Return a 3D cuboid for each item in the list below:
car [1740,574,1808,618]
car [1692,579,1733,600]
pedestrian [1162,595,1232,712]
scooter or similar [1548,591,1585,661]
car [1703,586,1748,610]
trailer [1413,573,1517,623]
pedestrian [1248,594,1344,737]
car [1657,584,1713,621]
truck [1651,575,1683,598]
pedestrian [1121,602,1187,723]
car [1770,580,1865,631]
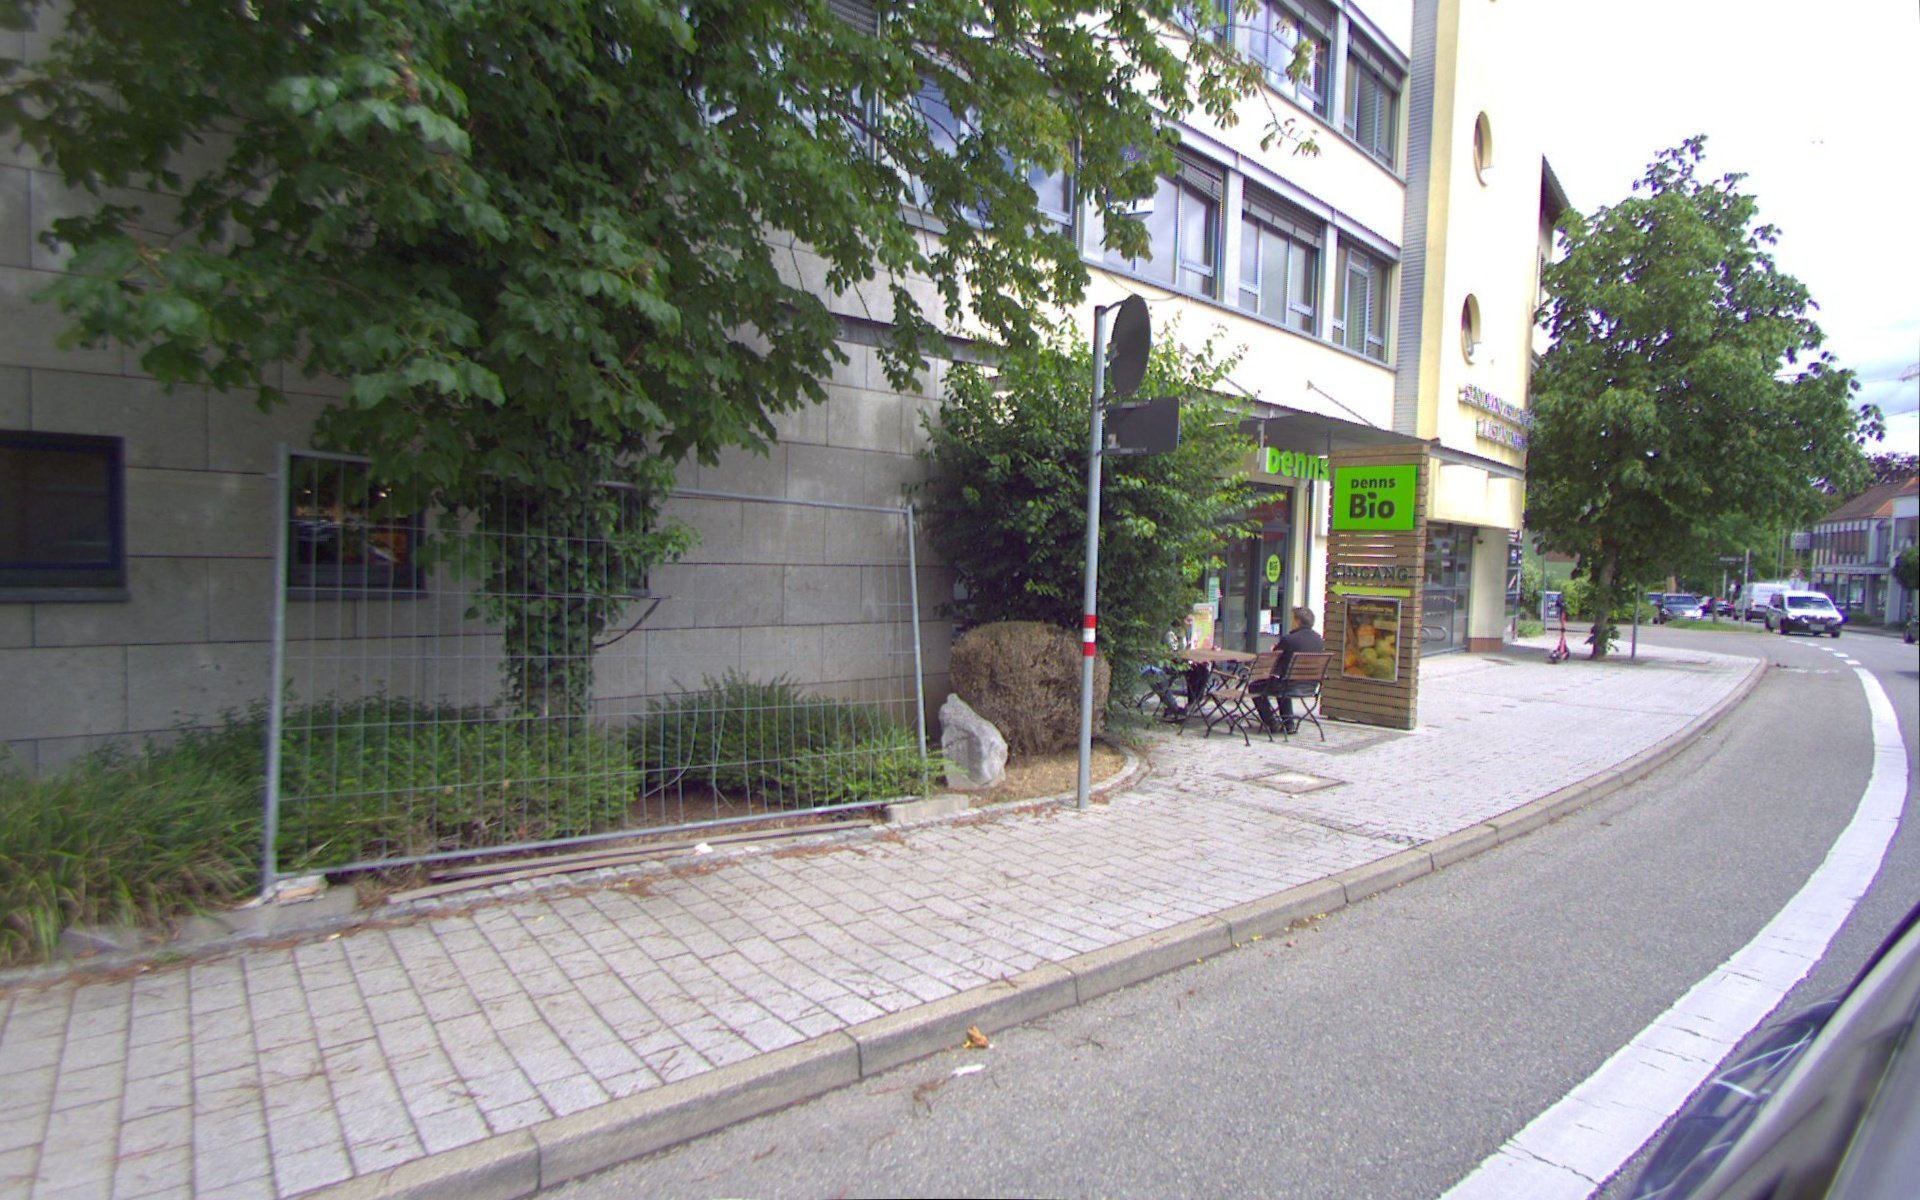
[{"bbox_3d":[49.287,-0.278,61.404,2.051,2.381,5.133,6,3,27],"label":"car"},{"bbox_3d":[59.964,-0.862,80.732,1.764,1.541,4.422,3,3,26],"label":"car"},{"bbox_3d":[2.626,0.574,11.224,0.577,1.218,0.495,2,3,45],"label":"pedestrian"},{"bbox_3d":[12.299,0.503,20.499,0.380,1.332,1.438,2,3,41],"label":"scooter or similar"},{"bbox_3d":[55.018,-0.176,72.803,1.760,1.442,4.071,5,4,27],"label":"car"},{"bbox_3d":[18.903,-0.090,37.957,3.158,1.601,1.372,6,3,41],"label":"trailer"},{"bbox_3d":[3.334,0.626,10.072,0.567,1.332,0.692,-1,2,-29],"label":"pedestrian"},{"bbox_3d":[36.523,0.103,51.067,1.681,1.687,4.416,3,2,29],"label":"car"},{"bbox_3d":[84.056,-1.643,120.367,2.293,2.449,6.034,2,3,28],"label":"truck"},{"bbox_3d":[2.039,0.635,10.638,0.519,1.196,0.495,2,2,34],"label":"pedestrian"},{"bbox_3d":[34.660,0.162,41.056,1.948,1.829,4.388,1,2,27],"label":"car"}]
